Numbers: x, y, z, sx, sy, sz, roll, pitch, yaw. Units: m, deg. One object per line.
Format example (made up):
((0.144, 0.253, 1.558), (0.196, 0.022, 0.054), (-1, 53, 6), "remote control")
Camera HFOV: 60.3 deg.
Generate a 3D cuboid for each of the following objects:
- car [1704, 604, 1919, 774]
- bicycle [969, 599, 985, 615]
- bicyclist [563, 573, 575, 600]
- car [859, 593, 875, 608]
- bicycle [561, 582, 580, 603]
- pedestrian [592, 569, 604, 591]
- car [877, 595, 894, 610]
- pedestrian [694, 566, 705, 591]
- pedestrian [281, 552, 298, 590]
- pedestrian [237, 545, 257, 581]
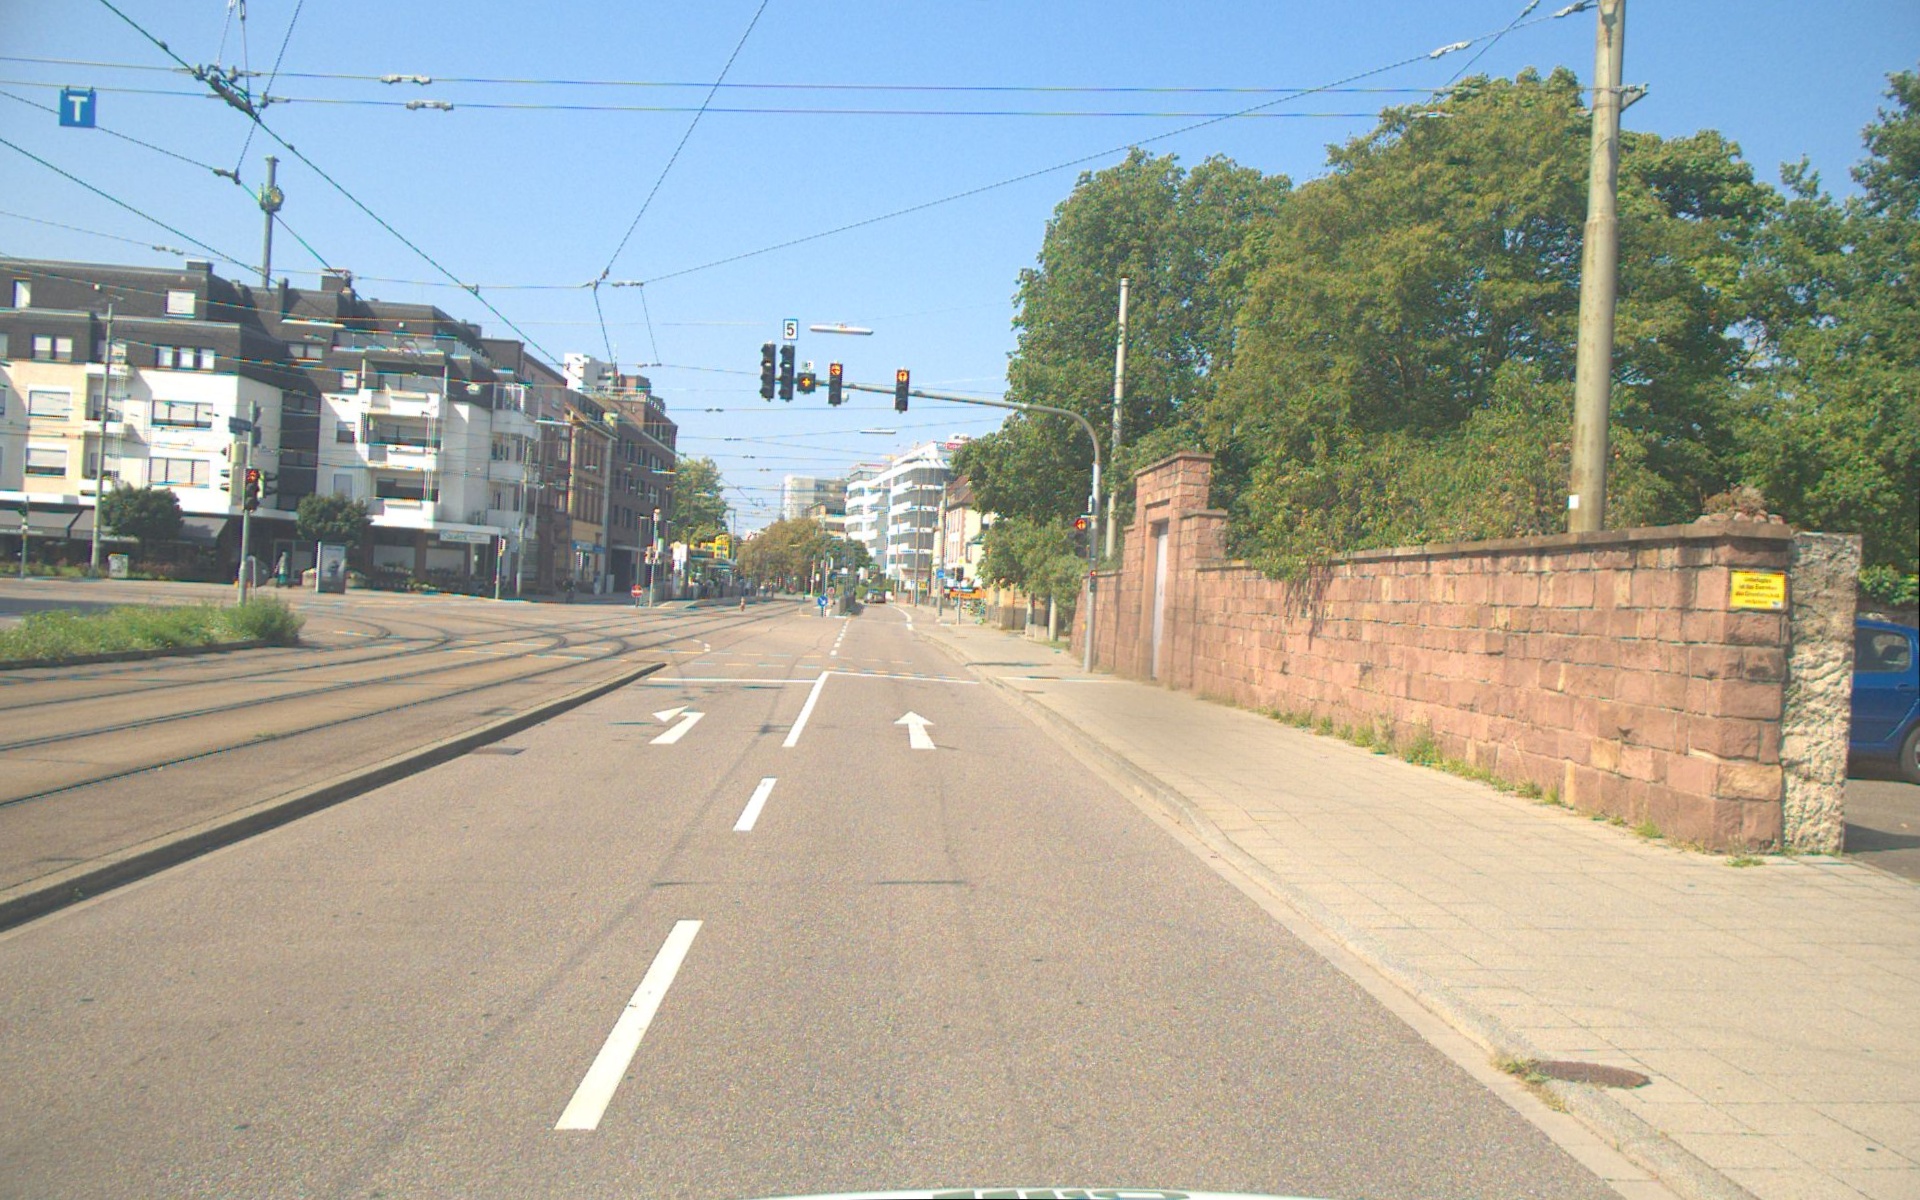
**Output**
((9.756, 0.924, 16.412), (3.889, 1.489, 1.776), (4, 1, -4), "car")
((1.254, 0.490, 121.997), (0.718, 1.152, 2.833), (0, 0, -10), "bicycle")
((-22.269, -0.774, 94.277), (0.556, 1.549, 0.489), (1, 0, -2), "bicyclist")
((-12.222, 0.096, 216.906), (1.971, 1.891, 3.998), (1, 0, -2), "car")
((-22.273, -0.425, 94.527), (0.563, 1.200, 2.207), (1, 0, -1), "bicycle")
((-26.818, -1.483, 122.467), (0.473, 1.587, 0.887), (4, -1, 8), "pedestrian")
((-9.501, 0.280, 211.004), (1.971, 1.891, 3.998), (1, 0, -2), "car")
((-18.748, -1.554, 119.080), (0.693, 1.753, 0.798), (1, 0, -3), "pedestrian")
((-31.999, -1.391, 78.937), (0.593, 1.776, 0.559), (2, 0, -37), "pedestrian")
((-35.220, -1.835, 81.713), (0.666, 1.771, 0.698), (1, 0, -2), "pedestrian")
